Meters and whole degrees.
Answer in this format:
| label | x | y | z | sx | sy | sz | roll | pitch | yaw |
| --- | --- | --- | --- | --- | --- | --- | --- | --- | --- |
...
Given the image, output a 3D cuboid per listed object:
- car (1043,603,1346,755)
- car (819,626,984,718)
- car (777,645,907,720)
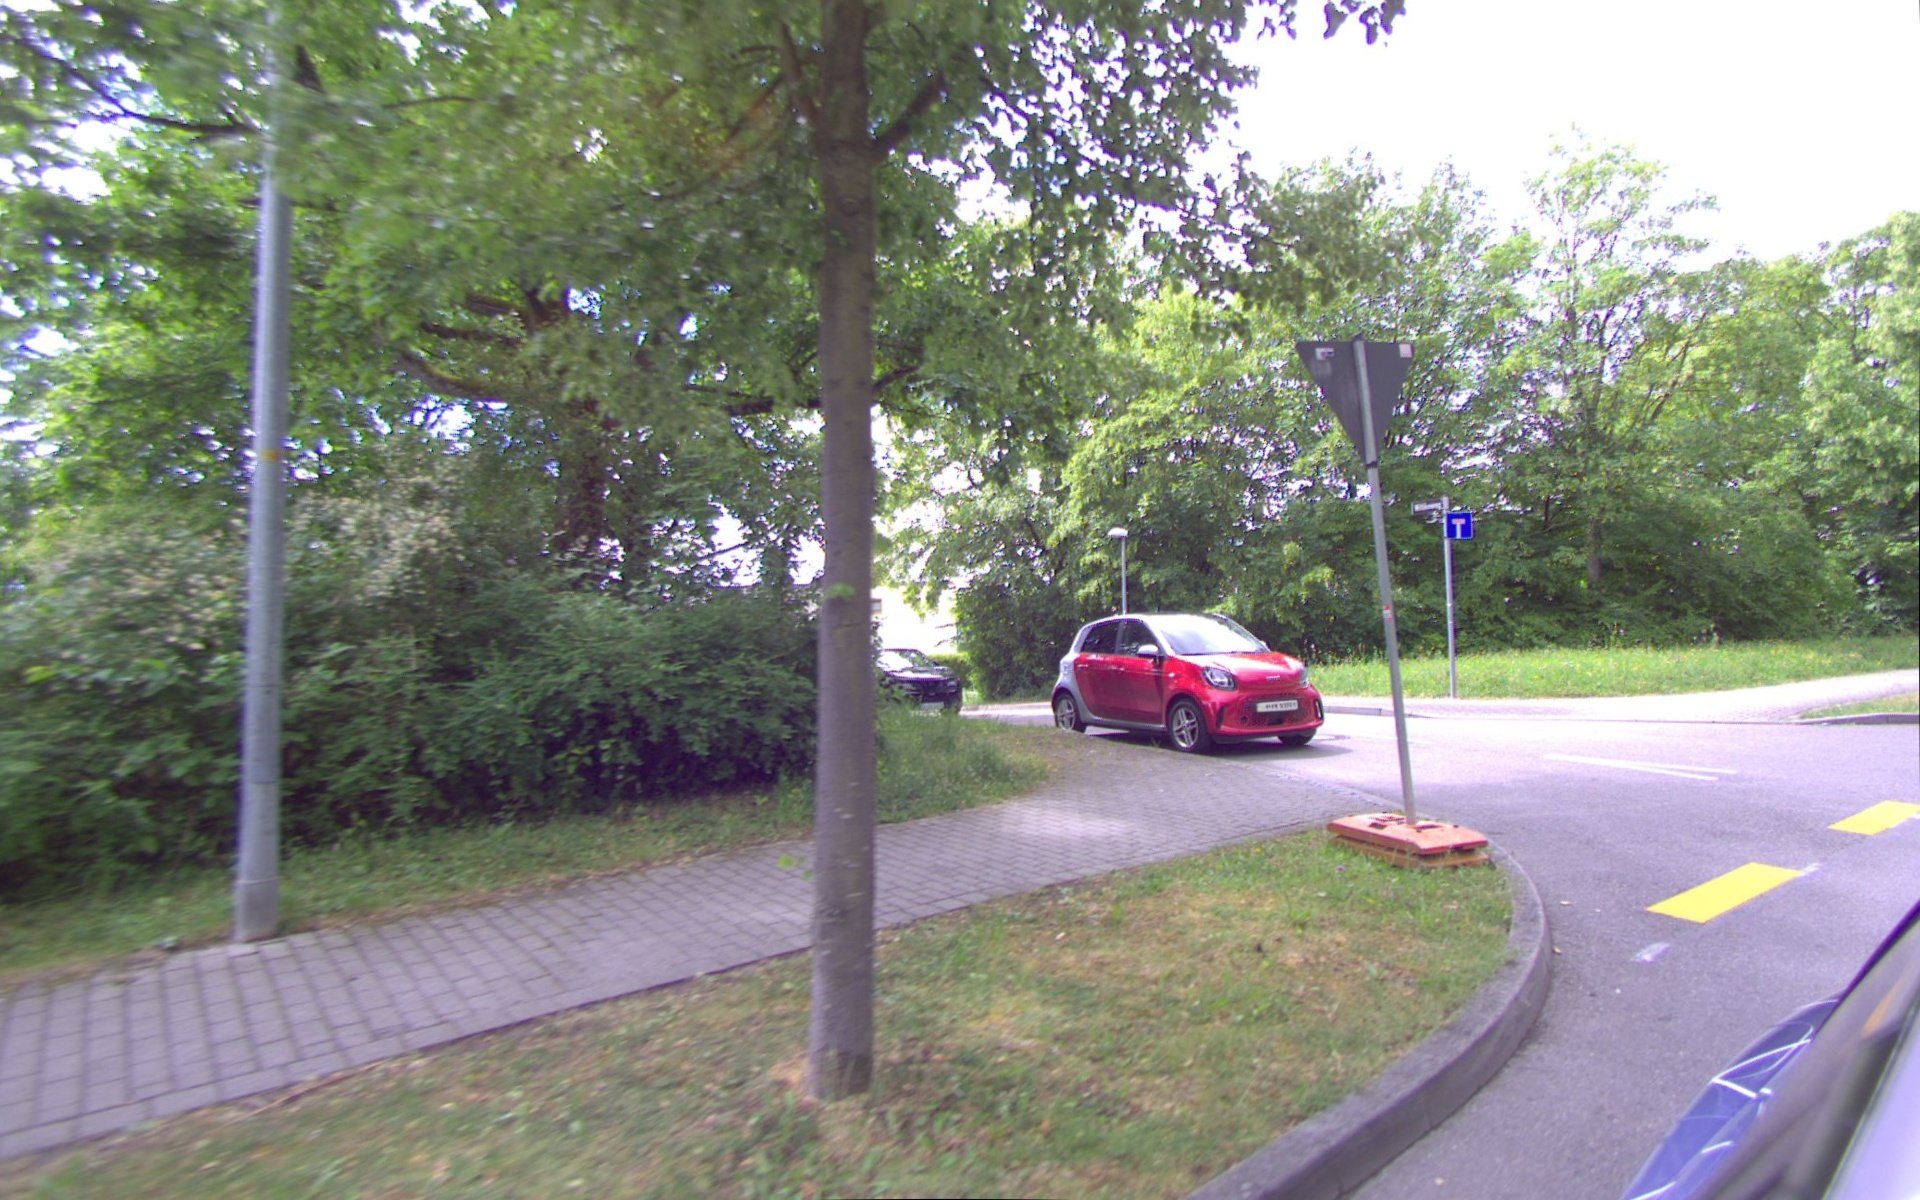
| label | x | y | z | sx | sy | sz | roll | pitch | yaw |
| --- | --- | --- | --- | --- | --- | --- | --- | --- | --- |
| car | 2.591 | 0.787 | 12.023 | 1.744 | 1.500 | 3.554 | 0 | 0 | -23 |
| car | -1.326 | 1.549 | 20.883 | 1.959 | 1.617 | 4.002 | -1 | -6 | -26 |
| car | -3.036 | 2.106 | 25.300 | 1.959 | 1.617 | 4.002 | -1 | -6 | -26 |
